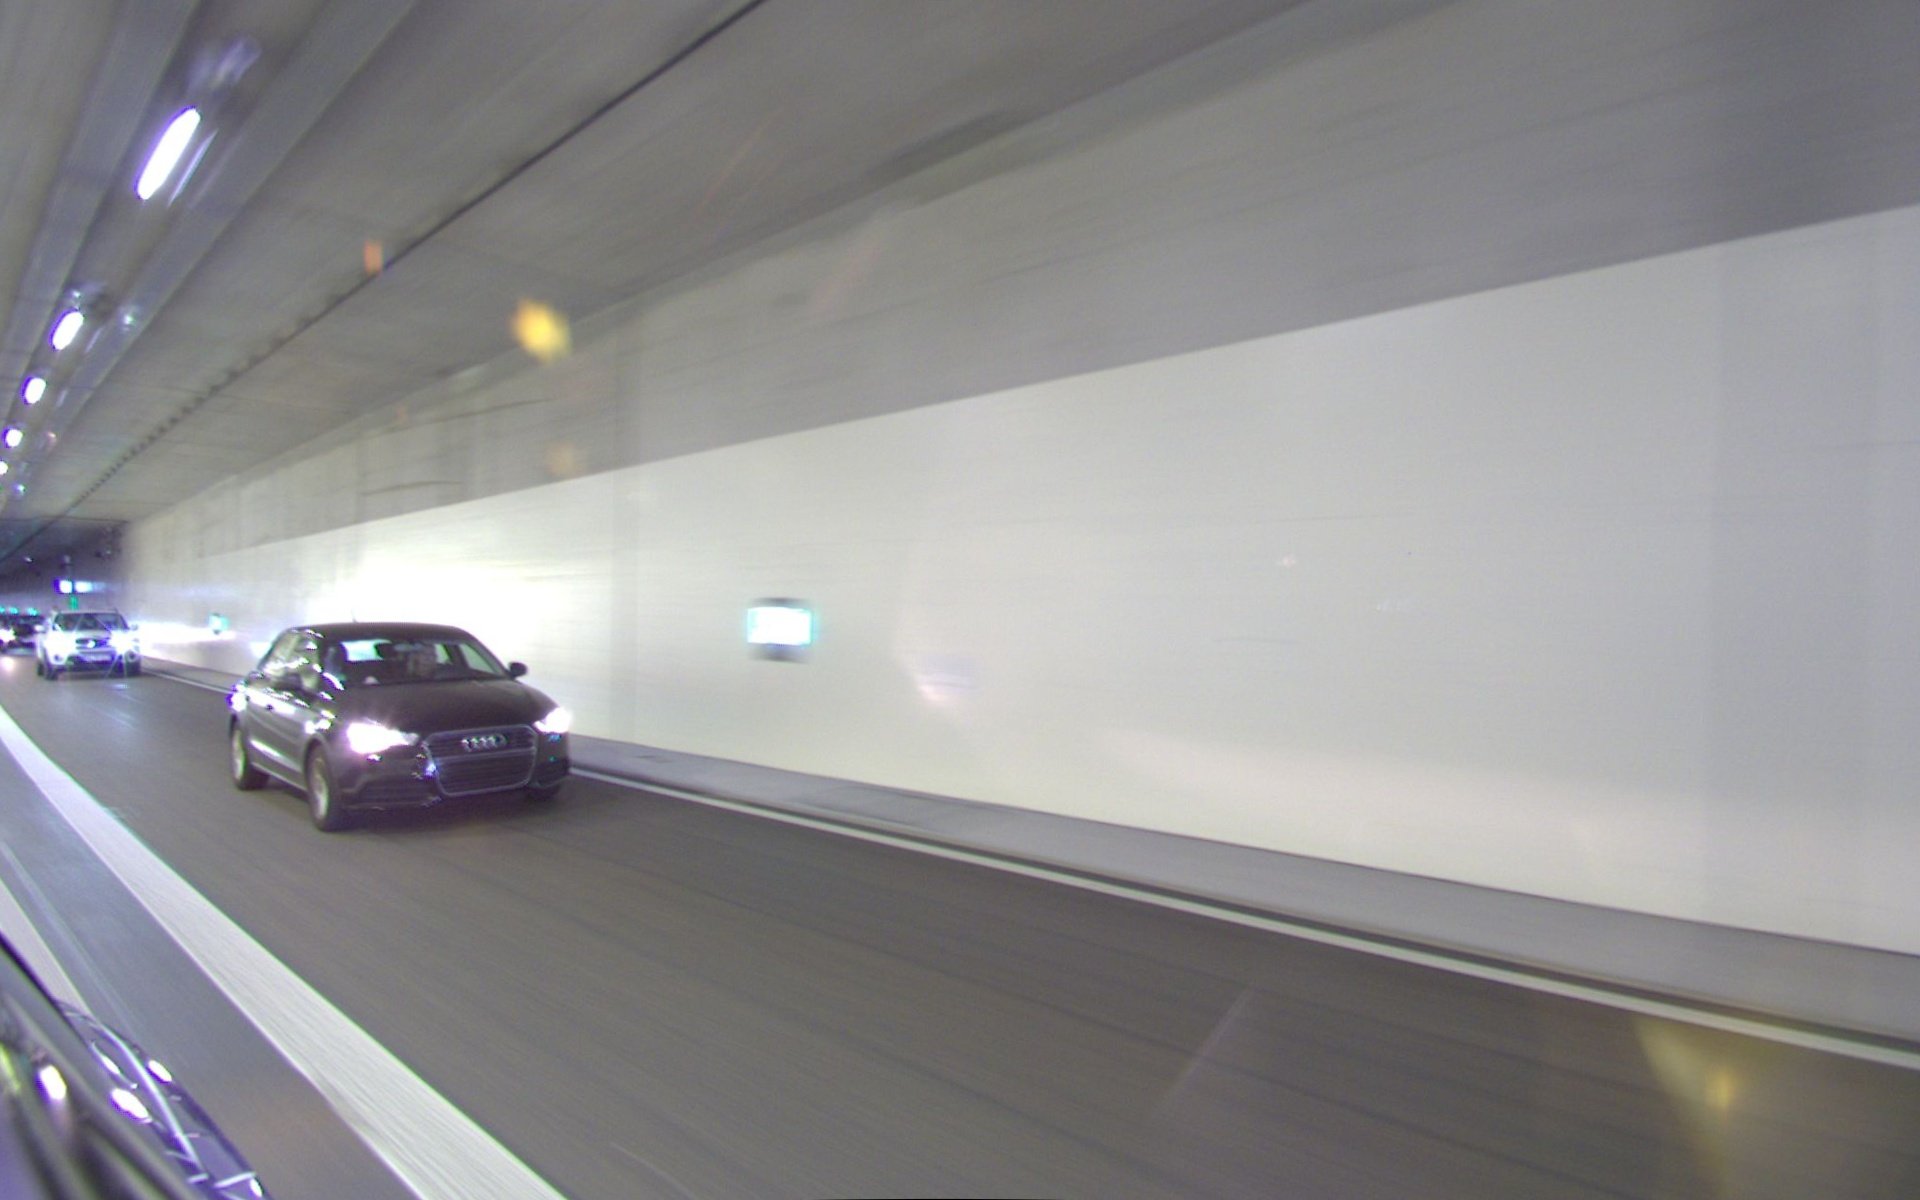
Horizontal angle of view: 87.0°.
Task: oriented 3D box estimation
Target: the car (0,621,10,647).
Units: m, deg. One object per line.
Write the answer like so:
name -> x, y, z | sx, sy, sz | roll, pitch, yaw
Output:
car -> -56.090, 1.976, 58.319 | 3.680, 1.463, 1.695 | -1, 0, 43

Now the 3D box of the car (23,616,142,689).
car -> -21.909, 1.243, 25.219 | 3.831, 1.677, 1.829 | -1, -2, 43

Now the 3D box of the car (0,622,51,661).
car -> -38.858, 1.683, 41.900 | 3.682, 1.482, 1.586 | -1, 0, 45

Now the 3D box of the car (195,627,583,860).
car -> -4.752, 0.935, 8.184 | 3.876, 1.412, 1.638 | -1, -2, 43
